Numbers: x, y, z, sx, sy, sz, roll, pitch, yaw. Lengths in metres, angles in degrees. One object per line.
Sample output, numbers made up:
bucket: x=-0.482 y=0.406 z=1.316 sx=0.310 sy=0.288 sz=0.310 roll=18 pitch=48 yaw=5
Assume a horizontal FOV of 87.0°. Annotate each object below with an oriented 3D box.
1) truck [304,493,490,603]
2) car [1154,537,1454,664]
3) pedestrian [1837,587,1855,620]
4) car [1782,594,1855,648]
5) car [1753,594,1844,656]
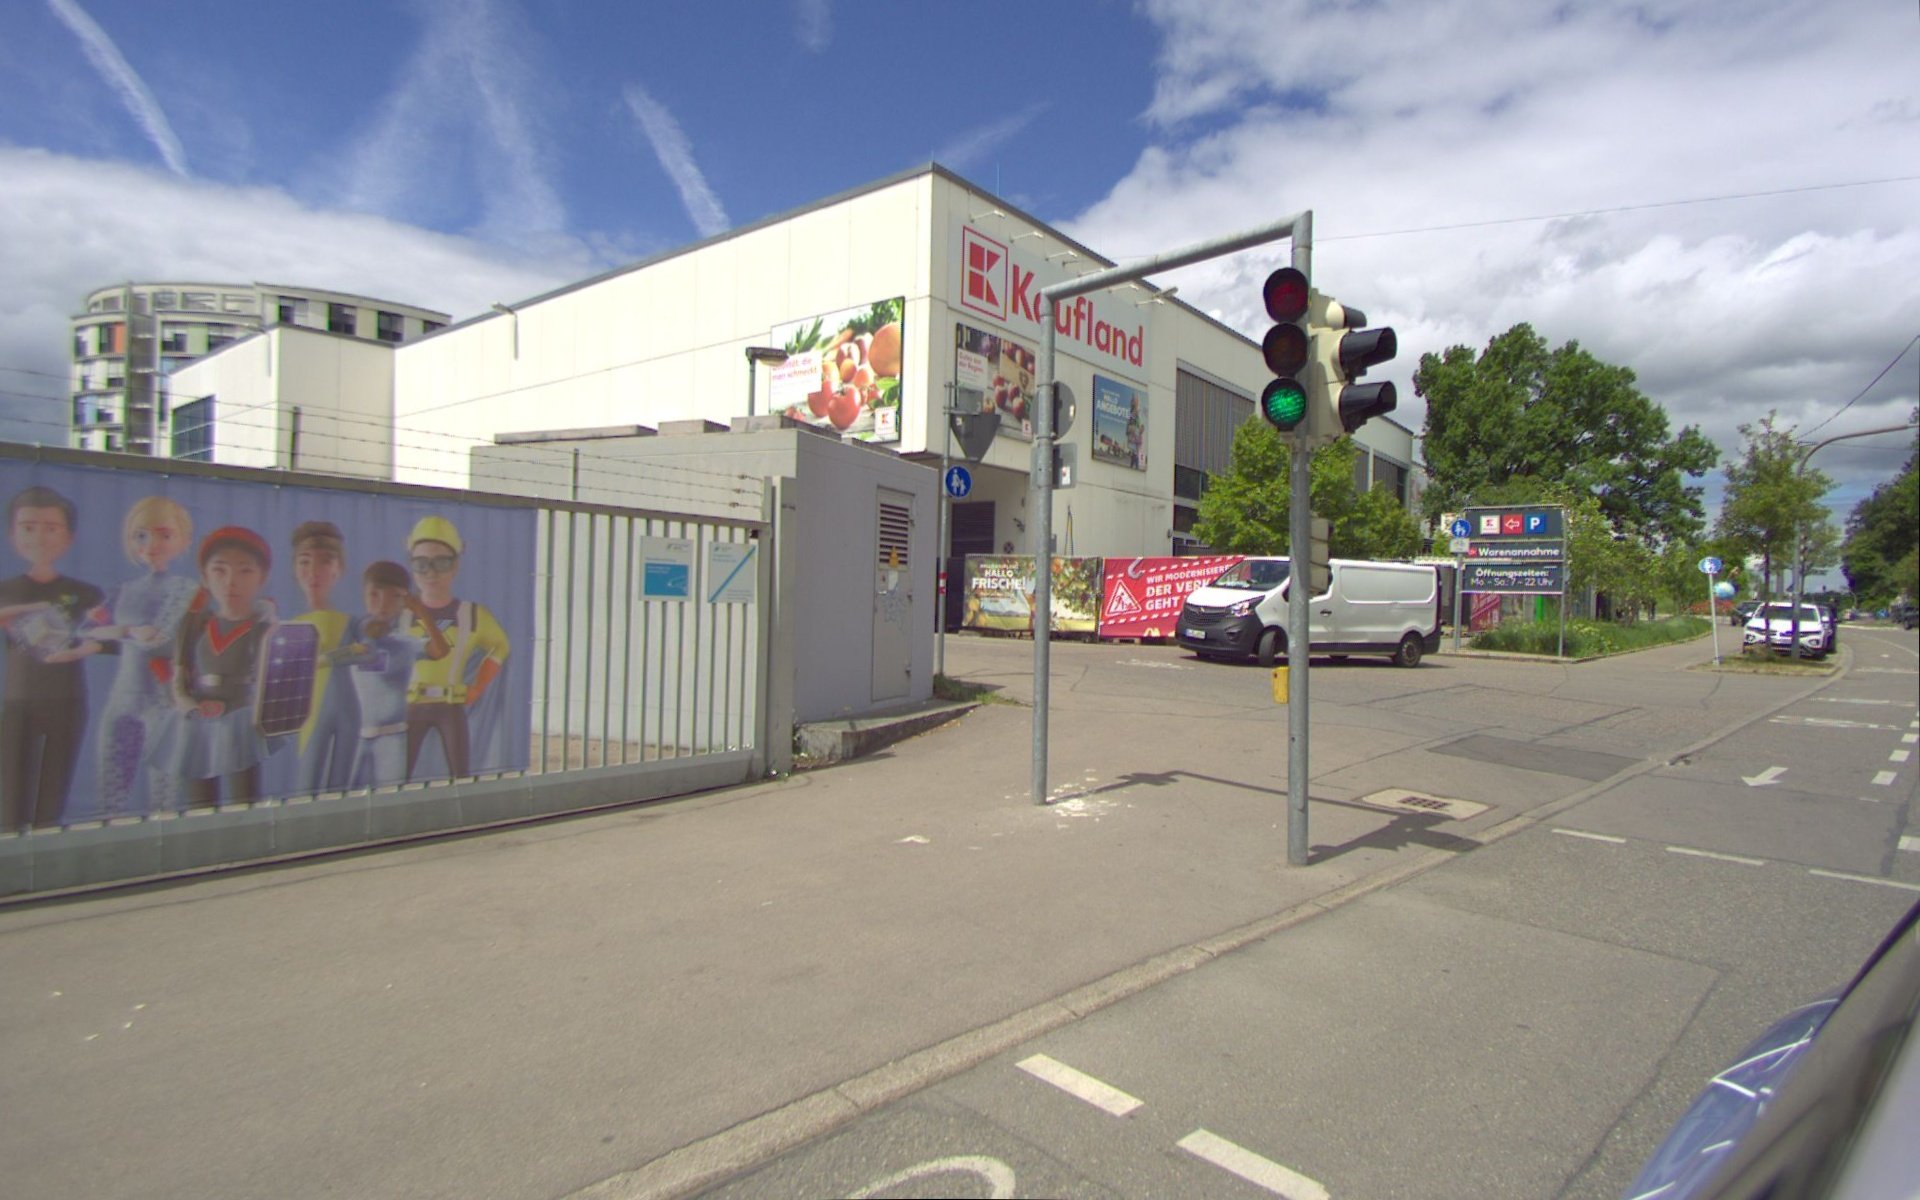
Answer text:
truck: x=-21.783 y=-1.862 z=39.424 sx=2.587 sy=3.911 sz=5.829 roll=-1 pitch=0 yaw=36
car: x=6.351 y=0.017 z=18.586 sx=5.241 sy=2.048 sz=2.004 roll=1 pitch=3 yaw=-26
pedestrian: x=55.726 y=0.200 z=63.661 sx=0.711 sy=2.039 sz=0.700 roll=0 pitch=-1 yaw=-38
car: x=28.029 y=0.631 z=32.997 sx=1.598 sy=1.580 sz=3.732 roll=4 pitch=3 yaw=43
car: x=24.086 y=0.654 z=29.030 sx=1.790 sy=1.549 sz=3.861 roll=4 pitch=3 yaw=42
